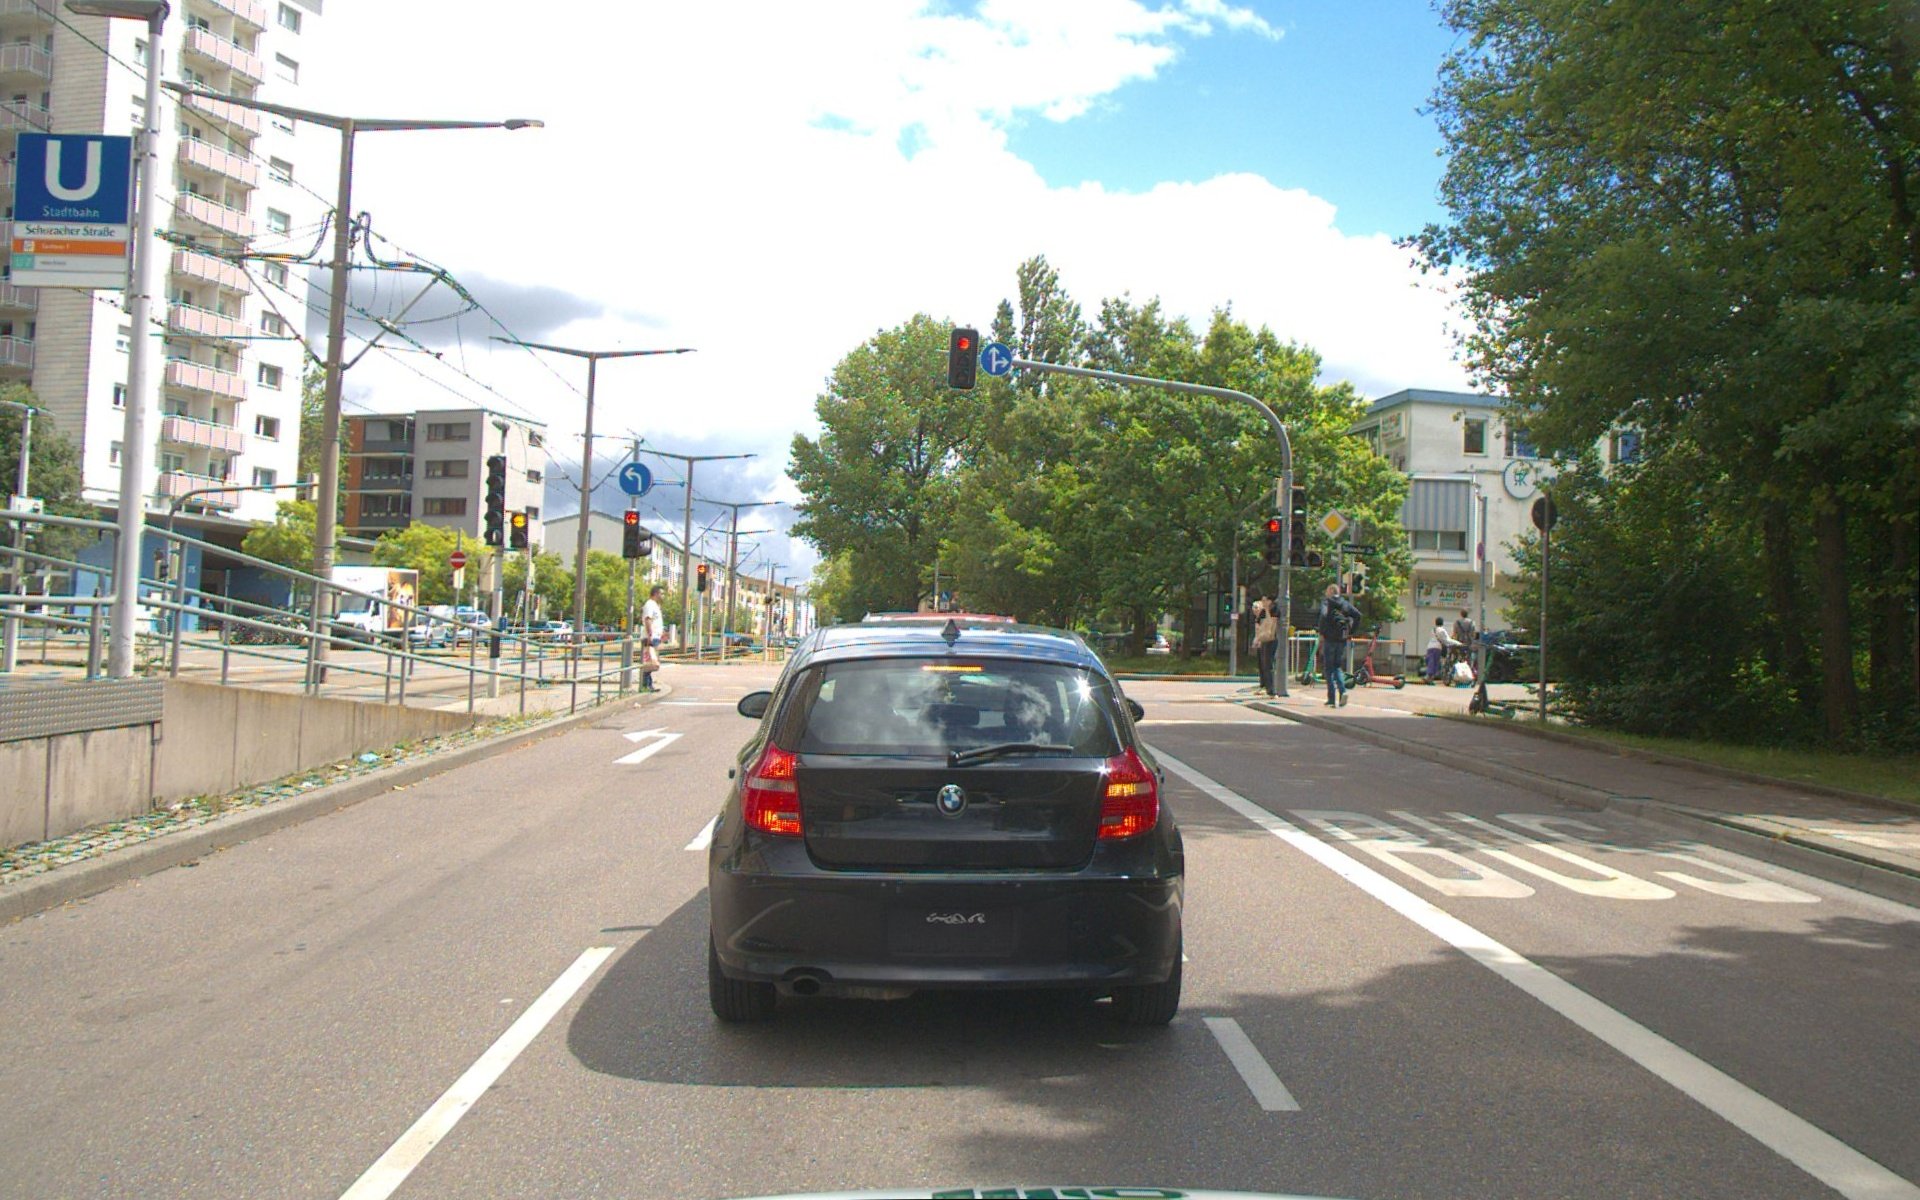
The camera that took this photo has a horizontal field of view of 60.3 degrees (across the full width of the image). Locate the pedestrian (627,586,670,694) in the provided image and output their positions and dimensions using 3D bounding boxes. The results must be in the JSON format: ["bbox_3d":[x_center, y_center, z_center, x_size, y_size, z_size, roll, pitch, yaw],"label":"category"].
[{"bbox_3d":[-5.195,0.666,27.647,0.675,1.764,0.686,1,-1,-10],"label":"pedestrian"}]

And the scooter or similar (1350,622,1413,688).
[{"bbox_3d":[8.676,1.129,34.041,1.127,1.294,0.555,2,-1,1],"label":"scooter or similar"}]

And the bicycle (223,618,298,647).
[{"bbox_3d":[-26.543,1.242,62.819,2.528,1.026,0.748,3,-3,-29],"label":"bicycle"}]

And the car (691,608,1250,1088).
[{"bbox_3d":[0.011,0.761,6.710,1.666,1.424,3.419,1,0,-1],"label":"car"}]

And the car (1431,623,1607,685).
[{"bbox_3d":[14.389,1.380,42.641,3.916,1.512,1.842,1,0,-12],"label":"car"}]

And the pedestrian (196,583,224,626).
[{"bbox_3d":[-35.928,0.223,79.274,0.841,2.049,0.847,1,-1,17],"label":"pedestrian"}]

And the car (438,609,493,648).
[{"bbox_3d":[-23.695,1.356,79.370,1.559,1.787,3.773,2,-1,-2],"label":"car"}]

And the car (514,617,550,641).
[{"bbox_3d":[-28.817,1.939,111.441,1.559,1.500,3.773,2,-1,-2],"label":"car"}]

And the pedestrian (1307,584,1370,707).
[{"bbox_3d":[6.006,0.714,26.270,0.779,1.909,1.013,1,-1,1],"label":"pedestrian"}]

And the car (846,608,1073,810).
[{"bbox_3d":[-0.025,0.792,13.612,1.605,1.424,3.419,1,0,-1],"label":"car"}]

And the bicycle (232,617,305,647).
[{"bbox_3d":[-26.715,1.244,63.917,2.528,1.026,0.748,3,-3,-29],"label":"bicycle"}]

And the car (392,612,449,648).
[{"bbox_3d":[-23.579,1.292,72.429,1.379,1.486,3.772,2,-1,-3],"label":"car"}]

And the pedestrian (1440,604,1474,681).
[{"bbox_3d":[11.348,0.968,37.759,0.644,1.743,0.461,1,-1,25],"label":"pedestrian"}]

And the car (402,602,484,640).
[{"bbox_3d":[-27.833,1.139,89.098,3.893,2.009,1.630,2,-1,-43],"label":"car"}]

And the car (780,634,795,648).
[{"bbox_3d":[-21.250,5.045,203.752,1.619,1.561,3.868,-2,-1,-4],"label":"car"}]

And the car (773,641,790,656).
[{"bbox_3d":[-19.551,5.306,181.387,1.618,1.561,3.868,1,-1,-4],"label":"car"}]

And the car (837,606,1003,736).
[{"bbox_3d":[-0.488,0.818,21.048,1.862,1.447,4.538,1,0,-1],"label":"car"}]

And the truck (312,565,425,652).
[{"bbox_3d":[-23.041,0.357,64.790,2.237,3.172,7.311,2,-1,-5],"label":"truck"}]

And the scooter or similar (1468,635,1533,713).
[{"bbox_3d":[9.379,1.282,28.725,0.872,1.251,0.454,6,-1,-1],"label":"scooter or similar"}]

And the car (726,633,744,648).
[{"bbox_3d":[-22.821,4.130,168.000,1.760,1.434,3.993,1,0,-8],"label":"car"}]

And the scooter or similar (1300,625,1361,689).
[{"bbox_3d":[7.405,1.135,33.072,1.087,1.257,0.539,1,-1,1],"label":"scooter or similar"}]

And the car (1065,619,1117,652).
[{"bbox_3d":[7.168,1.940,90.756,1.830,1.691,3.988,2,-1,-12],"label":"car"}]

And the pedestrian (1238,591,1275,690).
[{"bbox_3d":[5.472,0.738,30.566,0.622,1.797,0.518,1,-1,8],"label":"pedestrian"}]

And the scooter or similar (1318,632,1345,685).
[{"bbox_3d":[7.865,1.226,34.994,0.536,1.082,1.263,1,0,13],"label":"scooter or similar"}]

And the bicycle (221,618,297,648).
[{"bbox_3d":[-26.219,1.238,61.899,2.528,1.026,0.748,3,-3,-29],"label":"bicycle"}]

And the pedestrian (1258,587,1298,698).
[{"bbox_3d":[5.520,0.731,28.748,0.622,1.909,0.518,1,-1,8],"label":"pedestrian"}]

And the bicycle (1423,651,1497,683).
[{"bbox_3d":[10.994,1.464,36.368,1.552,0.620,0.535,1,1,18],"label":"bicycle"}]

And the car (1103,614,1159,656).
[{"bbox_3d":[8.233,1.669,79.847,1.694,1.904,3.991,2,-1,-9],"label":"car"}]

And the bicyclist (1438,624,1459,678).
[{"bbox_3d":[10.773,1.123,36.477,0.390,1.177,0.503,1,-1,21],"label":"bicyclist"}]
